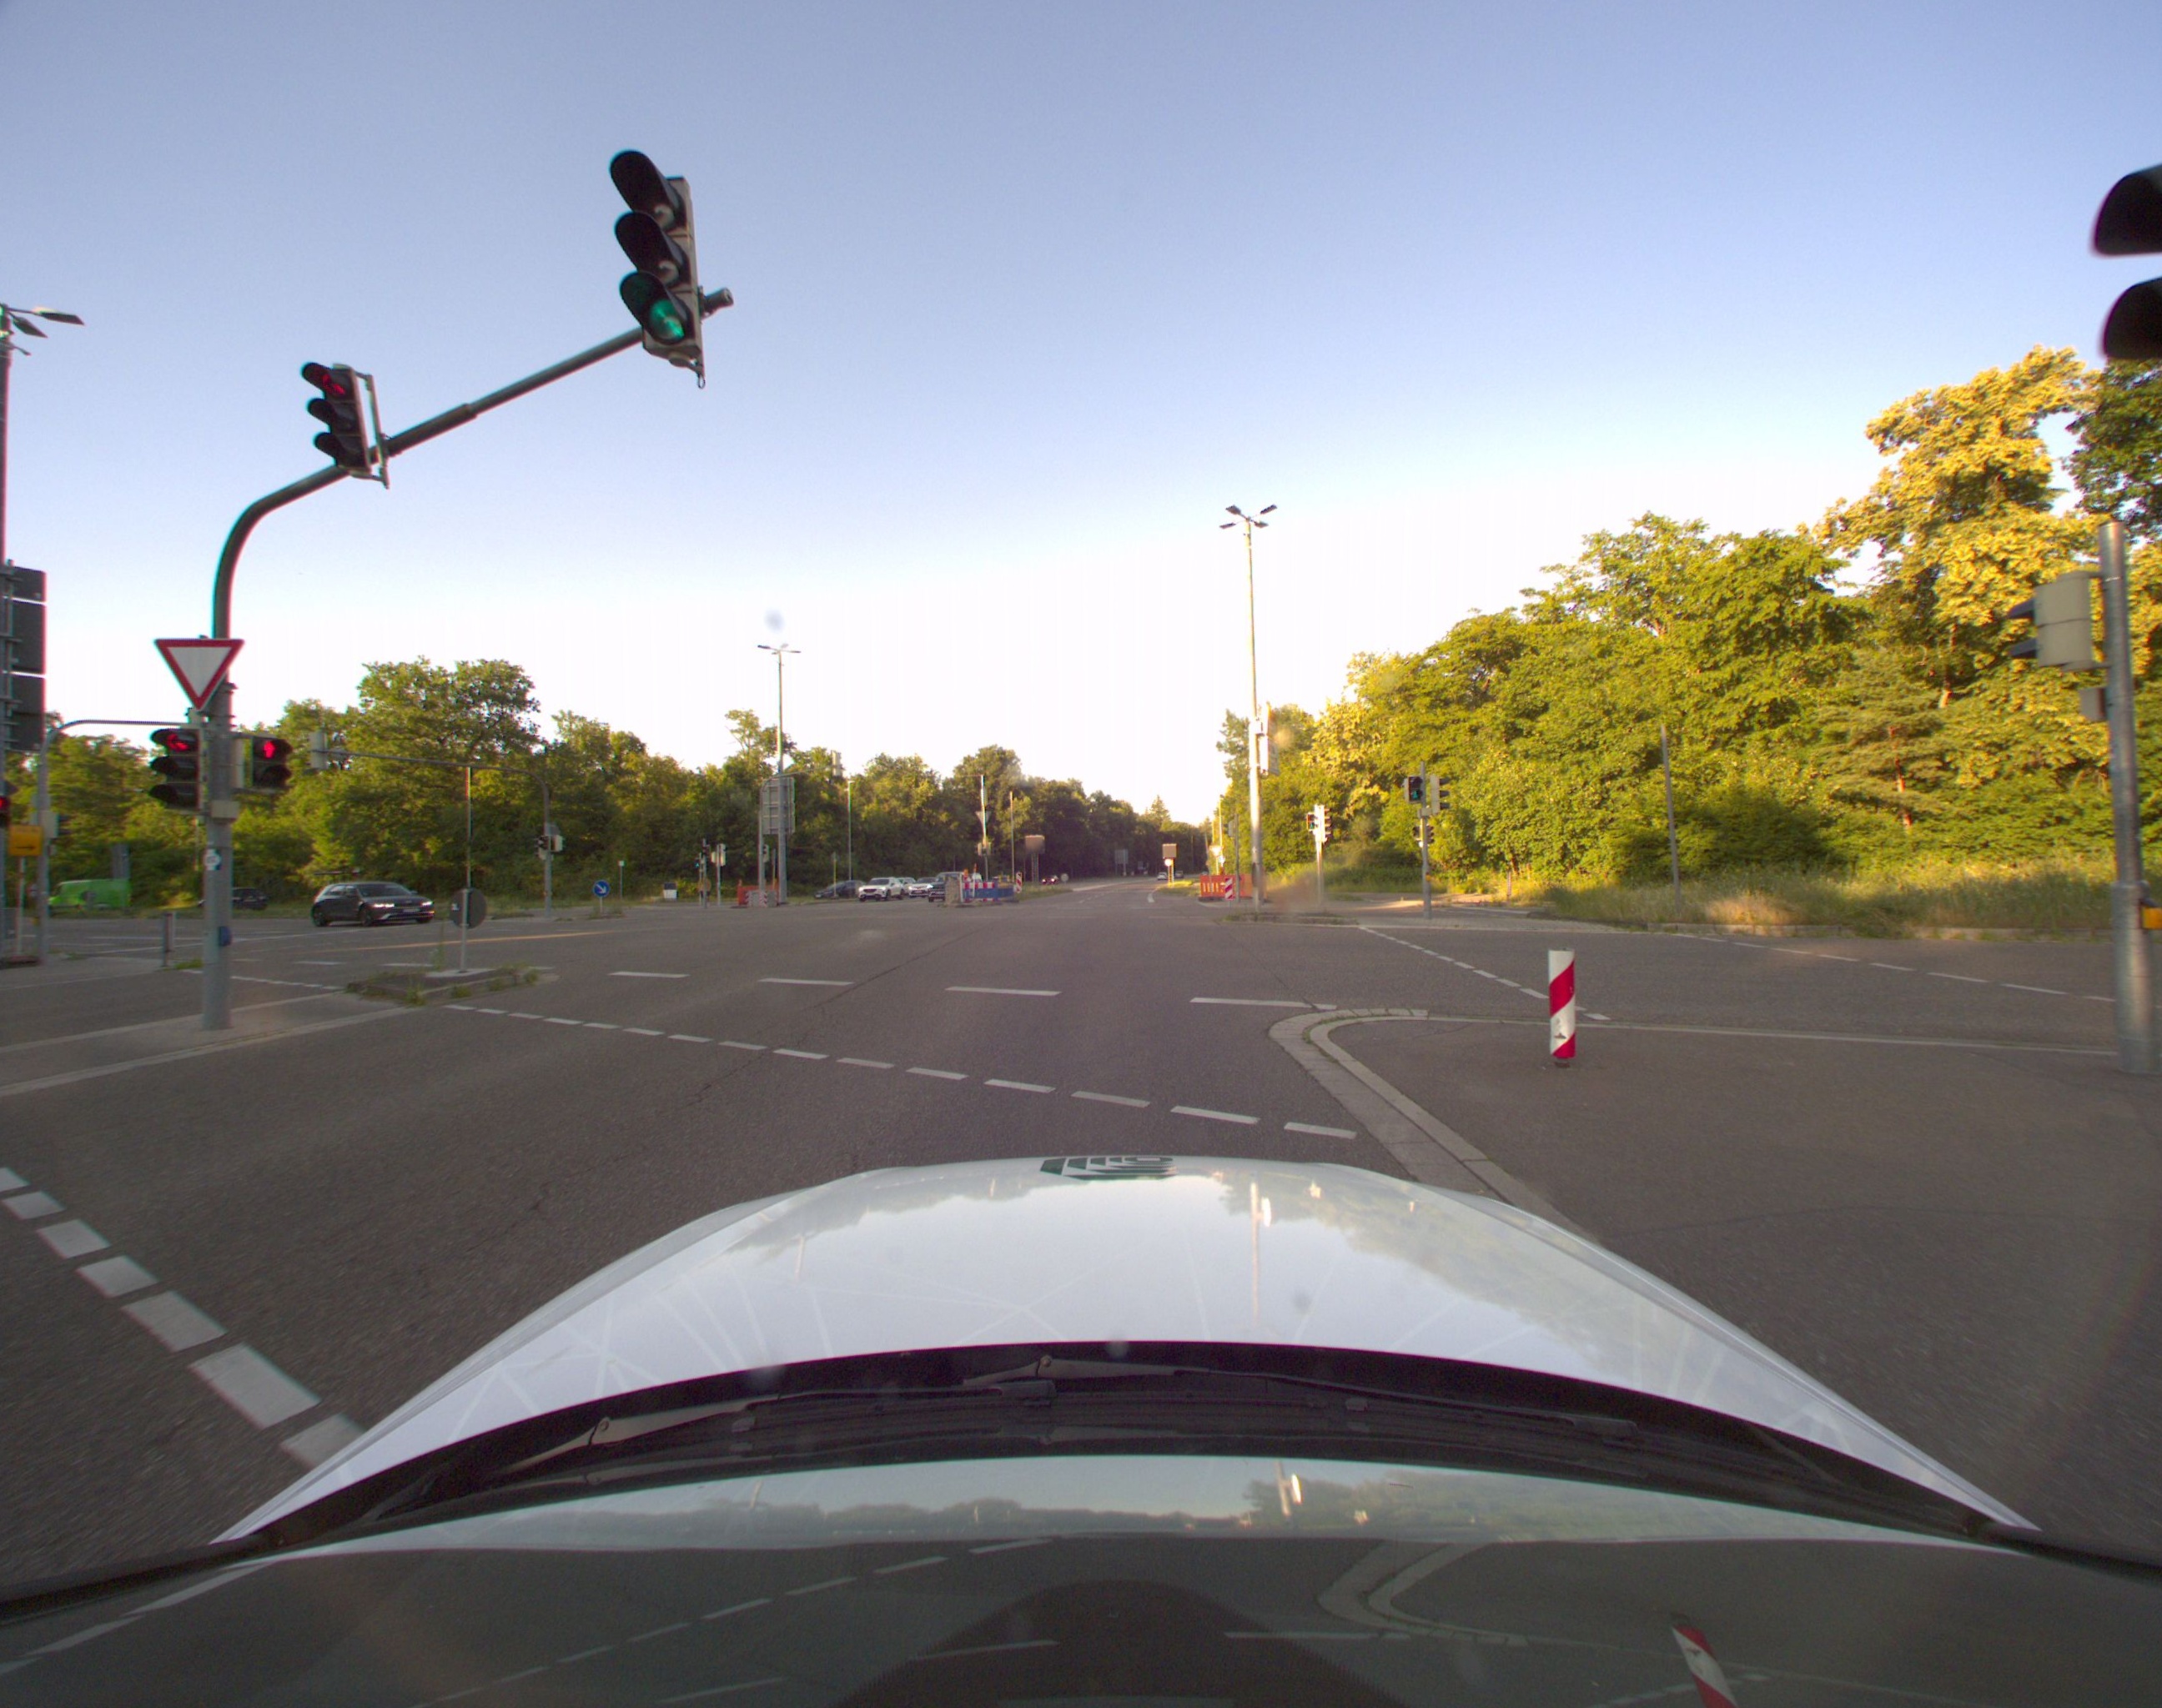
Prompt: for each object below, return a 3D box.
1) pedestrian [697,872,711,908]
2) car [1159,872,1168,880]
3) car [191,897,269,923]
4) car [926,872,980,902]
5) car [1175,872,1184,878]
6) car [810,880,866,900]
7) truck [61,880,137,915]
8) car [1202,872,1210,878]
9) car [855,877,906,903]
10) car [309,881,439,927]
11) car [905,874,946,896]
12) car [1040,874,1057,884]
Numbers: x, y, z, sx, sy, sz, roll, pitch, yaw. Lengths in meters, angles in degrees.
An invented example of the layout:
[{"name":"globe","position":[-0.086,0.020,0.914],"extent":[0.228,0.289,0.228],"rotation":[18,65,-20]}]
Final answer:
[{"name":"pedestrian","position":[-19.264,1.841,41.614],"extent":[0.577,1.801,0.743],"rotation":[-1,-2,-29]},{"name":"car","position":[15.423,4.138,151.834],"extent":[1.538,1.347,3.122],"rotation":[-2,-1,9]},{"name":"car","position":[-48.953,3.197,46.833],"extent":[3.999,1.327,1.673],"rotation":[0,-1,21]},{"name":"car","position":[-6.907,1.771,44.374],"extent":[1.707,1.456,4.241],"rotation":[-2,-1,7]},{"name":"car","position":[21.736,4.583,179.594],"extent":[1.444,1.244,2.977],"rotation":[-2,-1,18]},{"name":"car","position":[-16.894,2.474,56.767],"extent":[1.586,1.244,3.670],"rotation":[-2,-1,29]},{"name":"truck","position":[-63.712,2.819,52.843],"extent":[3.952,2.121,2.011],"rotation":[-2,-1,22]},{"name":"car","position":[31.401,5.200,204.536],"extent":[1.565,1.534,3.694],"rotation":[-1,-1,18]},{"name":"car","position":[-12.587,2.235,51.371],"extent":[1.707,1.456,4.241],"rotation":[-2,-1,7]},{"name":"car","position":[-25.641,1.785,29.560],"extent":[3.951,1.520,2.014],"rotation":[-2,-1,23]},{"name":"car","position":[-11.333,2.257,59.688],"extent":[1.707,1.456,4.241],"rotation":[-2,-1,7]},{"name":"car","position":[-4.990,3.843,124.411],"extent":[1.868,1.422,4.241],"rotation":[-2,-1,6]}]
